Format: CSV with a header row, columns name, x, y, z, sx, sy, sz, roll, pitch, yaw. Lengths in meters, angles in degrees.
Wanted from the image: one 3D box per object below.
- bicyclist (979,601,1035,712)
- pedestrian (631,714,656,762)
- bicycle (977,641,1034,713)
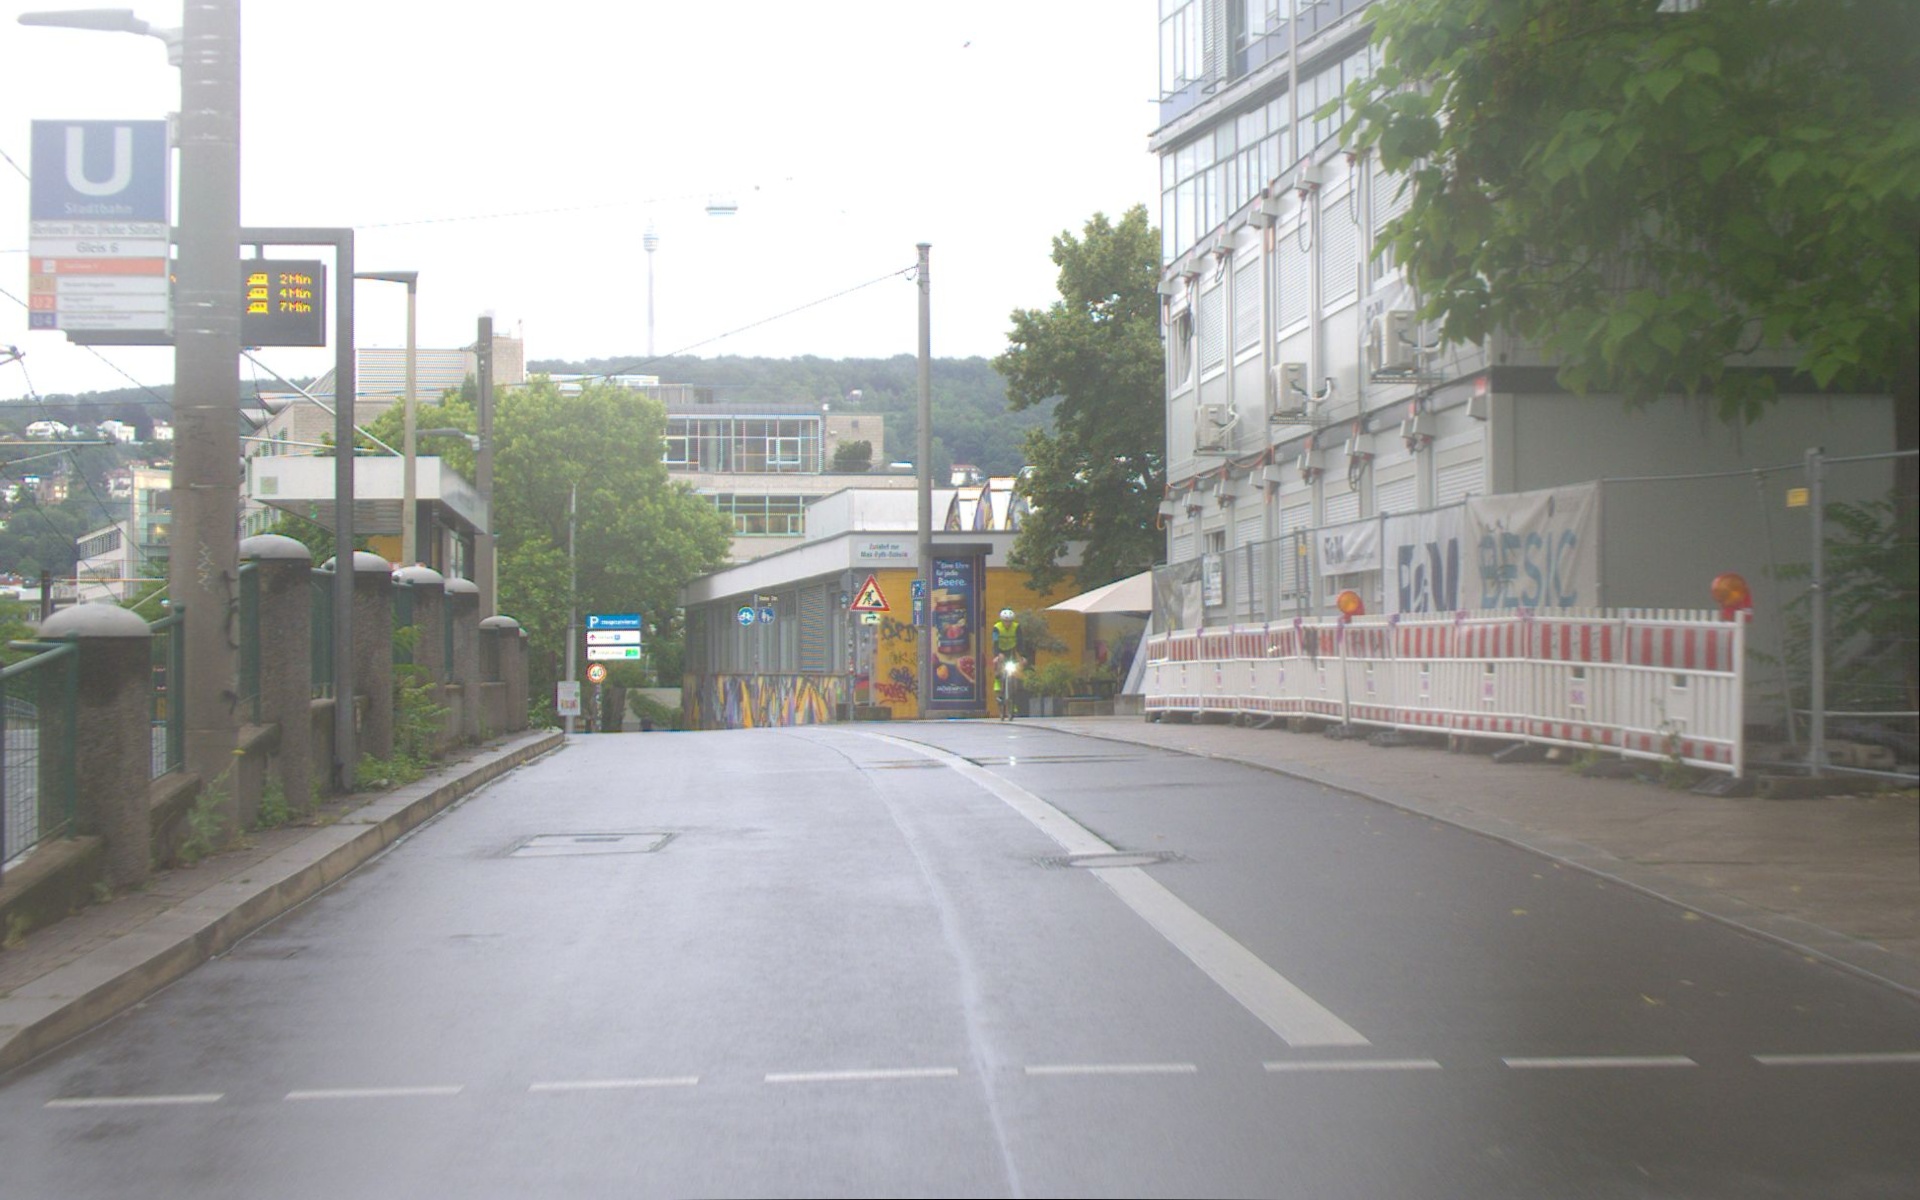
name,x,y,z,sx,sy,sz,roll,pitch,yaw
bicyclist,0.726,0.873,52.868,0.661,1.633,0.793,-5,-1,-4
pedestrian,-12.717,5.551,138.092,0.807,1.858,1.056,-2,-3,-12
bicycle,0.686,1.199,52.848,0.661,1.049,2.056,-3,-2,-4
